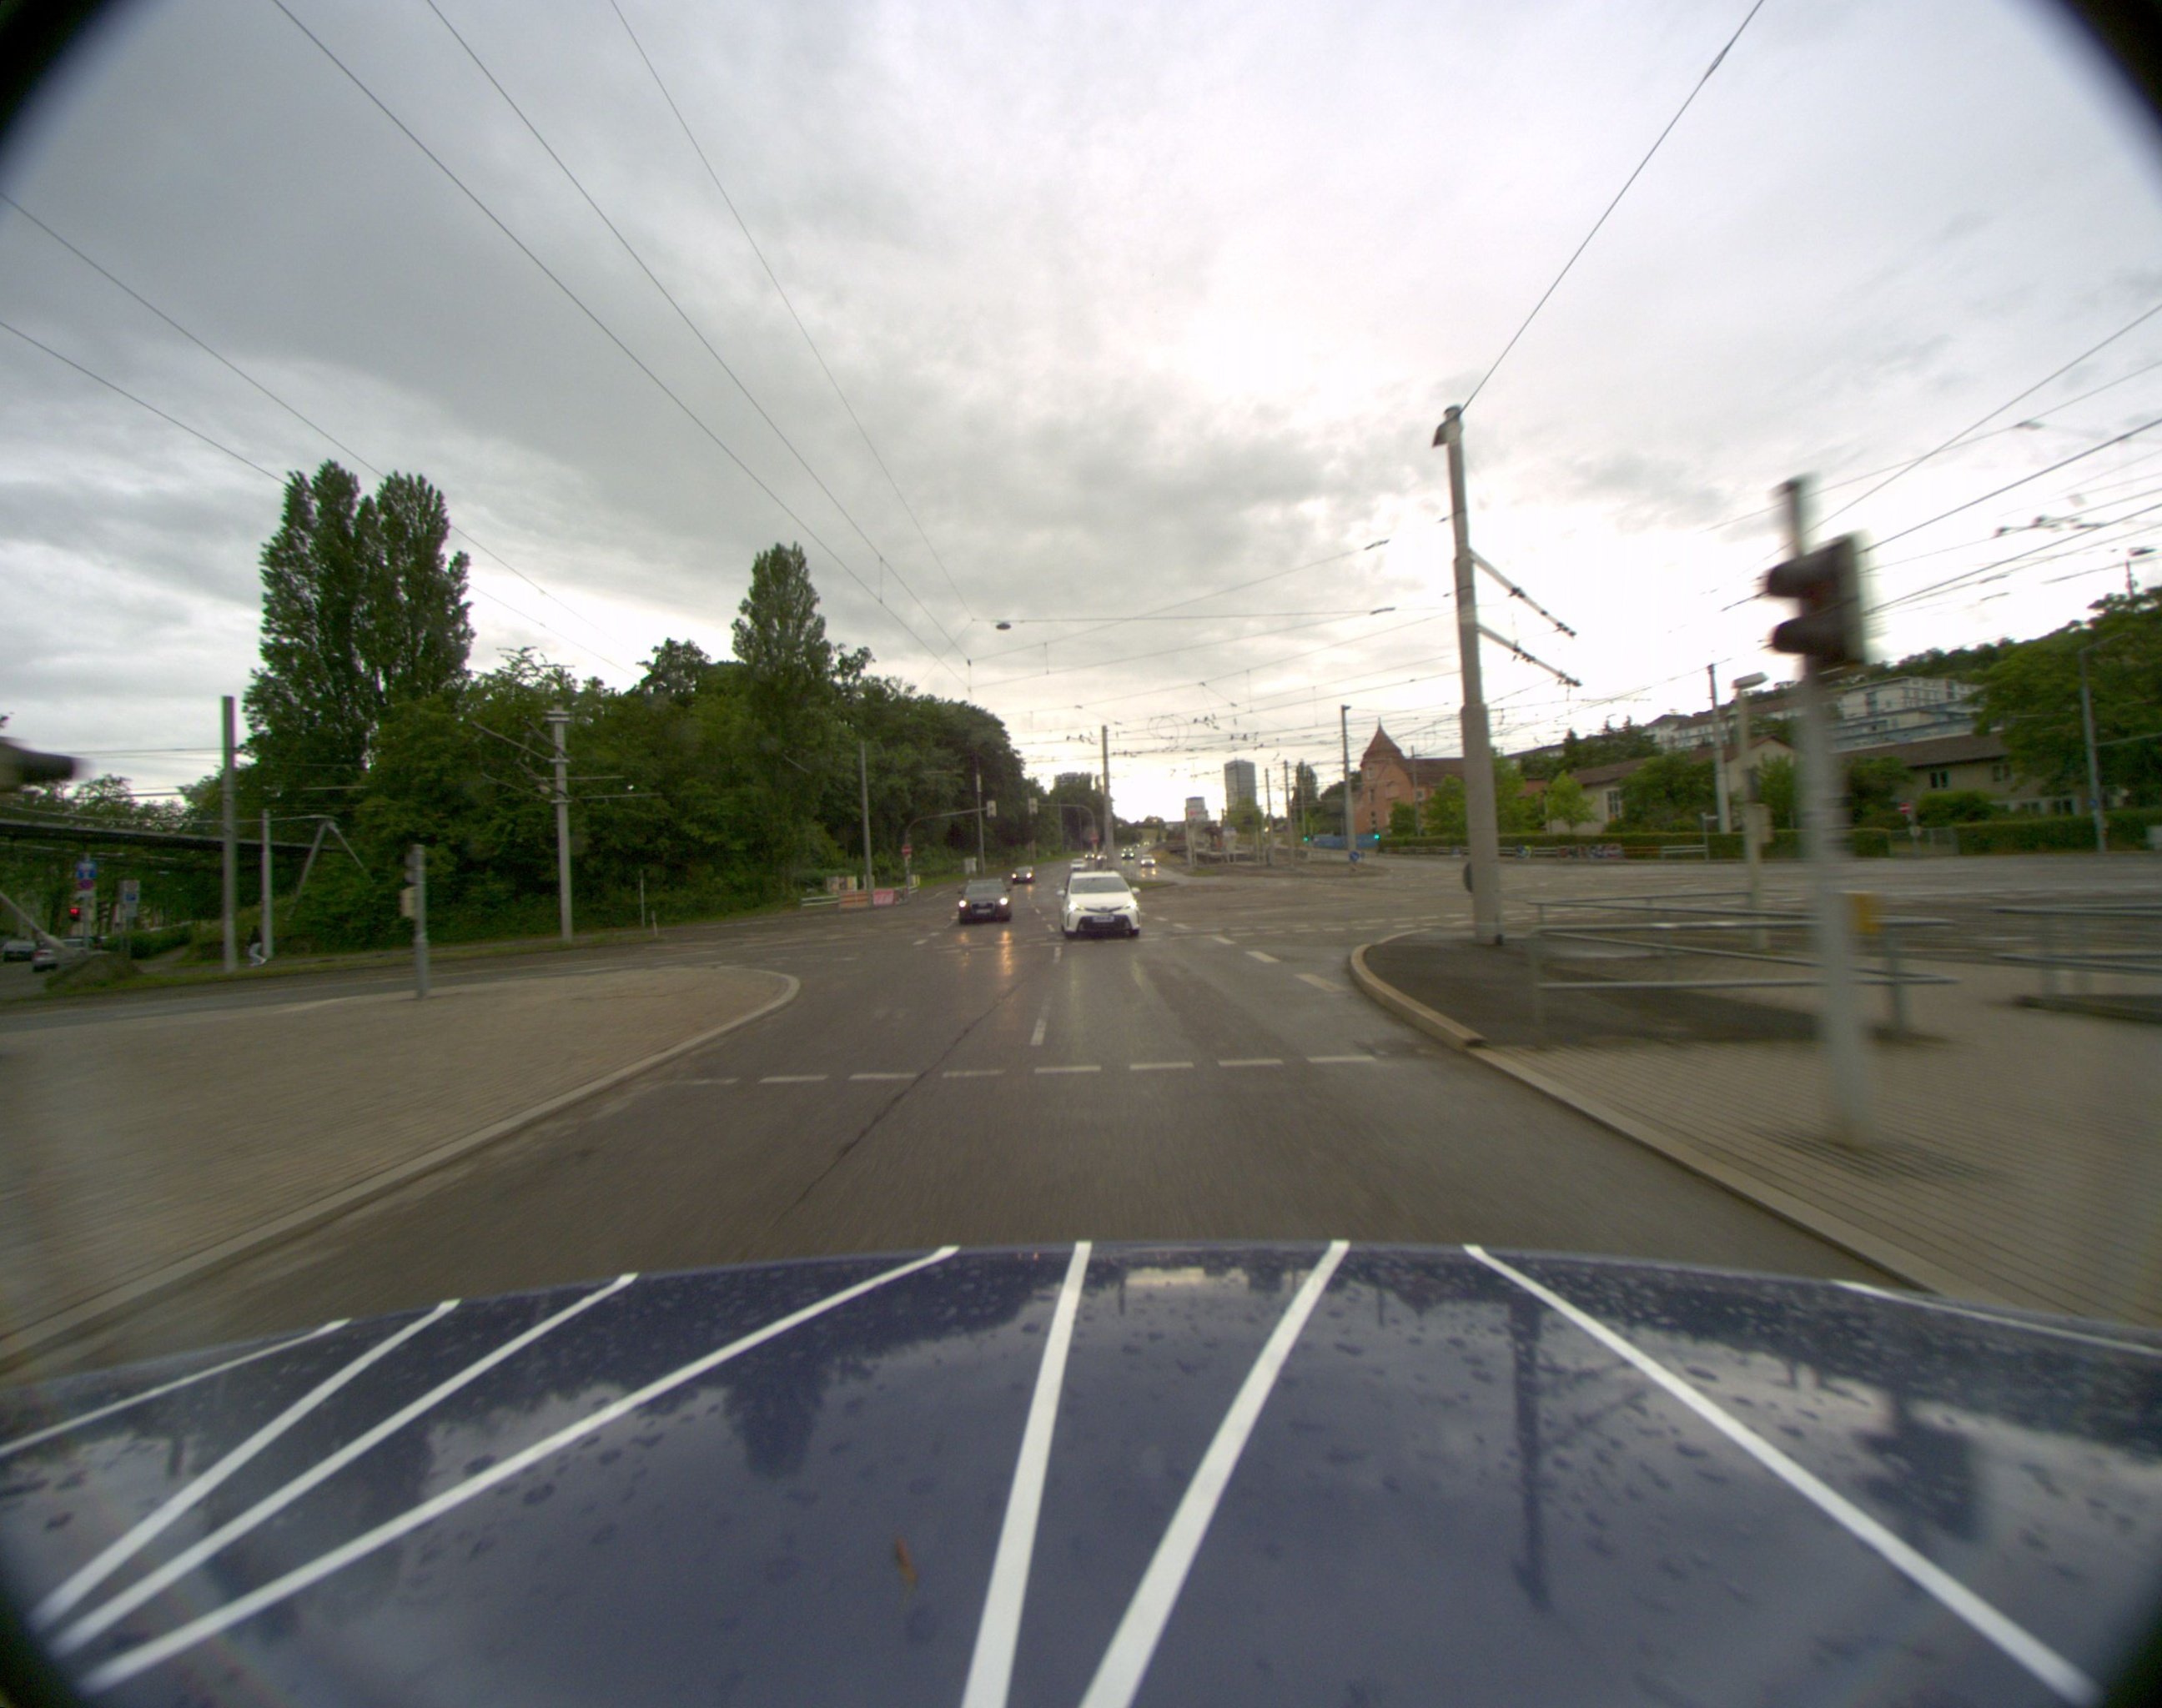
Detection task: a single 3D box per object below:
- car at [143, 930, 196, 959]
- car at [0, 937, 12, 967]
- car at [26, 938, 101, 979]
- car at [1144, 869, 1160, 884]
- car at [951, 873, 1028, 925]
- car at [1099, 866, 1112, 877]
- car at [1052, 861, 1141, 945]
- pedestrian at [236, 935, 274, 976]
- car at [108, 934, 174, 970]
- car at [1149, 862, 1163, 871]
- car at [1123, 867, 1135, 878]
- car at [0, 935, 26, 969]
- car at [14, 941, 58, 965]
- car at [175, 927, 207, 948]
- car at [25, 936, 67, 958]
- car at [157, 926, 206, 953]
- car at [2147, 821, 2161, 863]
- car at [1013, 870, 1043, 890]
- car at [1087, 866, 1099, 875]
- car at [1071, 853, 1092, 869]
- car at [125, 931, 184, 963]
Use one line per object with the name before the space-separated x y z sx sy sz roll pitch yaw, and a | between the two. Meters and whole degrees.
car | -60.258 5.962 50.290 1.741 1.552 3.743 -5 1 -44
car | -59.953 5.457 41.265 3.370 1.552 1.637 -4 1 43
car | -49.047 4.988 36.700 3.743 1.552 1.637 -4 1 43
car | 8.975 2.838 95.627 1.738 1.579 4.001 -3 2 7
car | -3.295 1.611 28.152 1.855 1.578 4.002 -3 0 7
car | 3.959 2.783 122.462 1.801 1.463 4.000 -3 1 4
car | 0.456 1.154 18.962 1.855 1.740 4.002 -5 -2 3
pedestrian | -32.977 4.043 30.353 0.655 1.545 0.809 -4 -1 -17
car | -51.568 5.351 41.745 1.741 1.552 3.743 -5 1 -44
car | 12.433 2.094 126.666 1.802 1.502 4.001 -3 -2 -2
car | 8.166 3.131 129.548 1.801 1.463 3.999 -3 1 1
car | -69.203 6.324 48.570 3.370 1.966 1.637 -4 1 40
car | -74.503 7.046 54.206 3.142 1.387 1.561 -4 1 40
car | -78.722 7.340 67.199 3.743 1.552 1.741 -4 1 40
car | -78.619 7.049 57.736 3.142 1.387 1.561 -4 1 40
car | -63.693 6.007 53.845 1.741 1.552 3.743 -5 1 -44
car | 54.348 -0.630 36.101 3.993 2.003 2.001 -3 3 12
car | -4.564 2.218 66.138 1.738 1.578 4.003 -4 -1 8
car | 2.108 2.888 133.833 1.801 1.463 4.000 -3 1 4
car | 0.107 0.784 85.033 1.738 1.579 4.001 -3 2 7
car | -55.421 5.543 45.505 1.741 1.552 3.743 -5 1 -44
